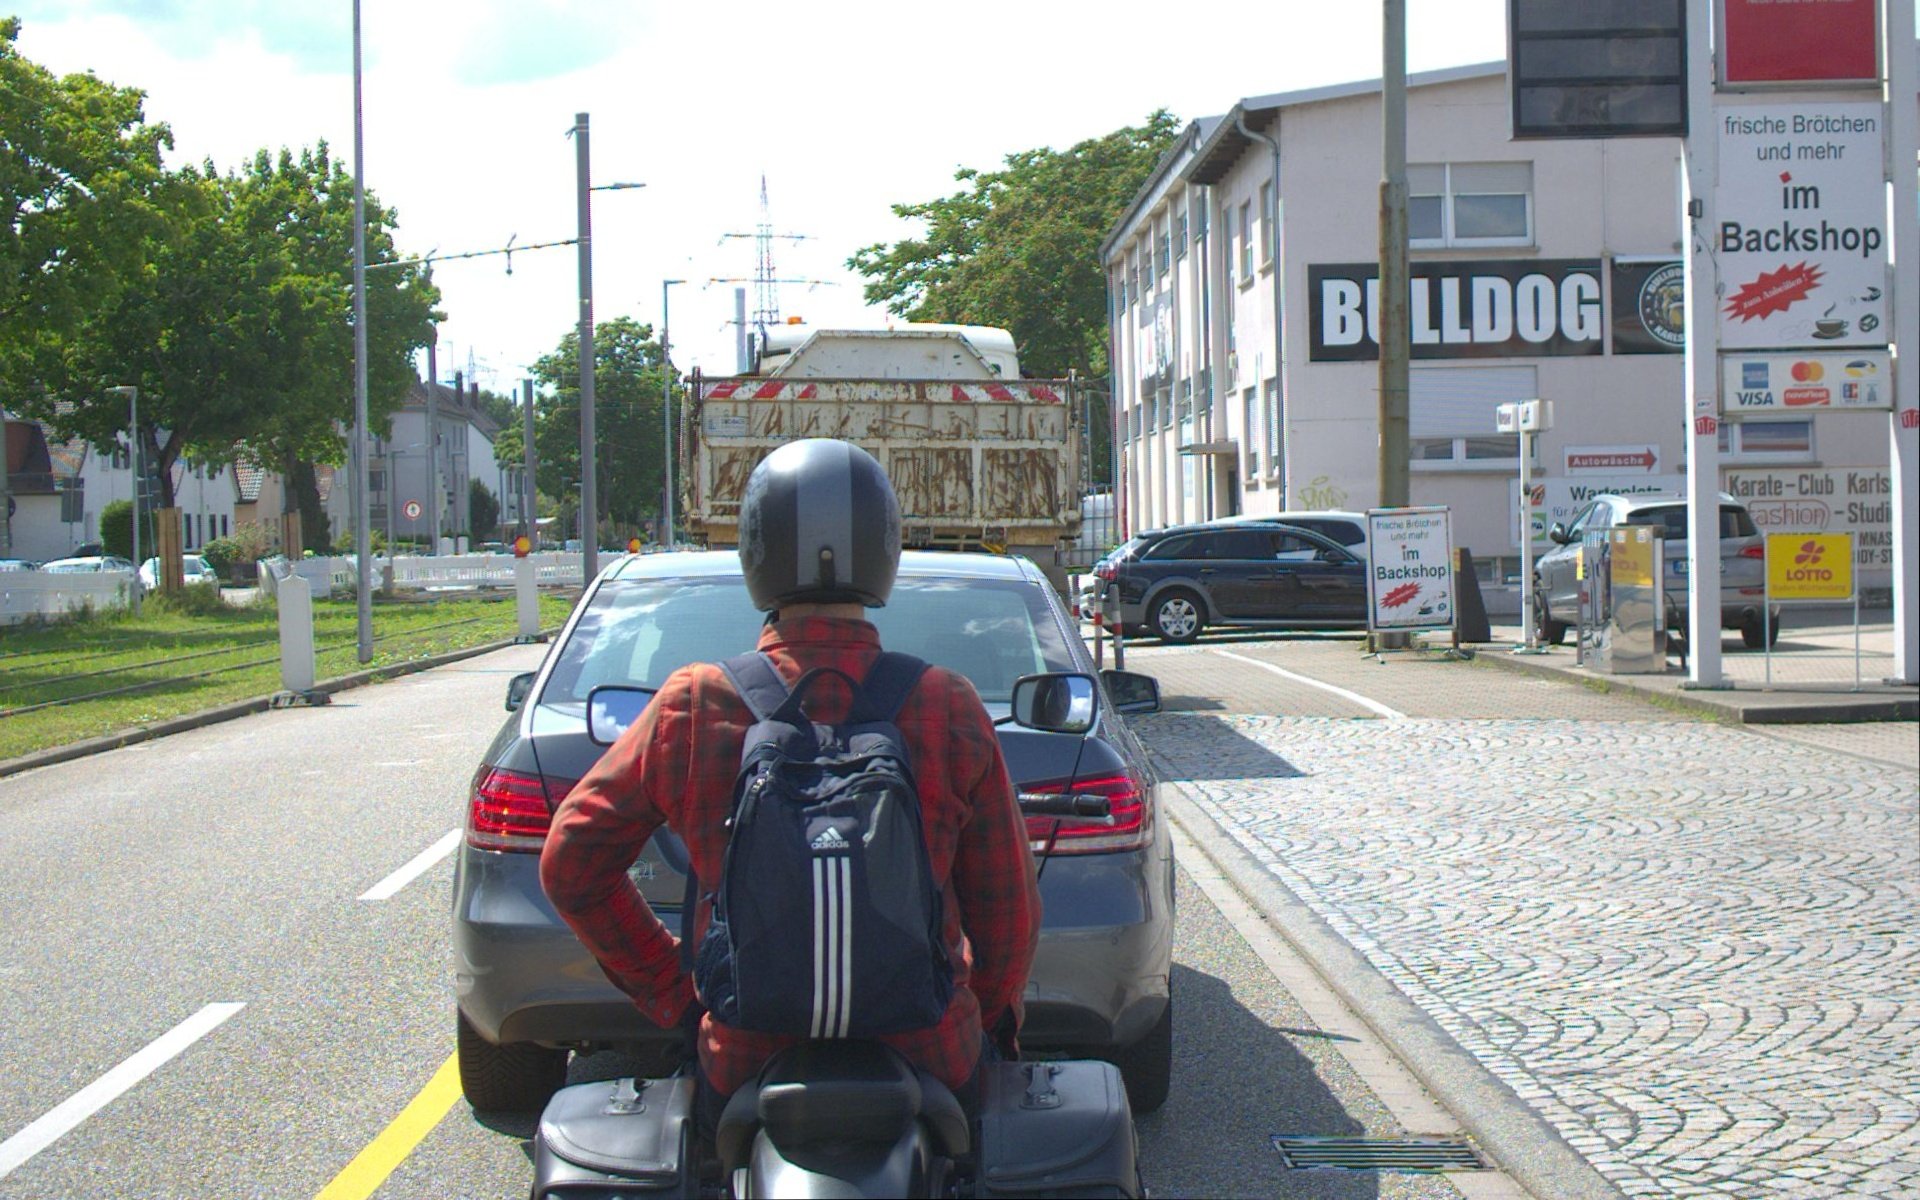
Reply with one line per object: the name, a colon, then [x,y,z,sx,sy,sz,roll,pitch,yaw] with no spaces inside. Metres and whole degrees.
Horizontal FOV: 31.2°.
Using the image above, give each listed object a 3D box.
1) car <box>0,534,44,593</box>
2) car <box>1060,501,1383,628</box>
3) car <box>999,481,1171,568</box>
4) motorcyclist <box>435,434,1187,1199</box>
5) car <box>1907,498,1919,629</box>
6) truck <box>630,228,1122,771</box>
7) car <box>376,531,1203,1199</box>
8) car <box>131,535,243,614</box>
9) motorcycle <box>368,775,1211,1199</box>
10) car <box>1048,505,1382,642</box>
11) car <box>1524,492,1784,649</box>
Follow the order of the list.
car: [-29.268,-1.110,104.593,1.698,1.733,4.062,-1,1,0]
car: [3.549,-0.501,47.036,4.104,1.619,1.686,-1,1,-8]
car: [3.829,-2.311,106.050,2.206,2.555,5.370,-2,2,-40]
motorcyclist: [-0.205,0.589,5.090,0.969,1.627,1.215,1,1,-1]
car: [11.788,-0.401,37.249,1.832,1.474,4.010,-1,1,-2]
truck: [-0.635,-0.715,25.474,2.970,3.293,8.408,-1,1,-2]
car: [-0.440,0.567,9.780,1.832,1.474,4.010,-1,1,-2]
car: [-17.837,-0.615,79.488,1.698,1.733,3.860,-1,1,0]
motorcycle: [-0.215,0.864,5.213,0.976,1.010,2.432,1,1,-1]
car: [3.213,-0.352,43.792,4.105,1.619,1.686,-1,1,0]
car: [7.324,-0.341,36.650,1.832,1.530,4.010,-1,1,-2]
